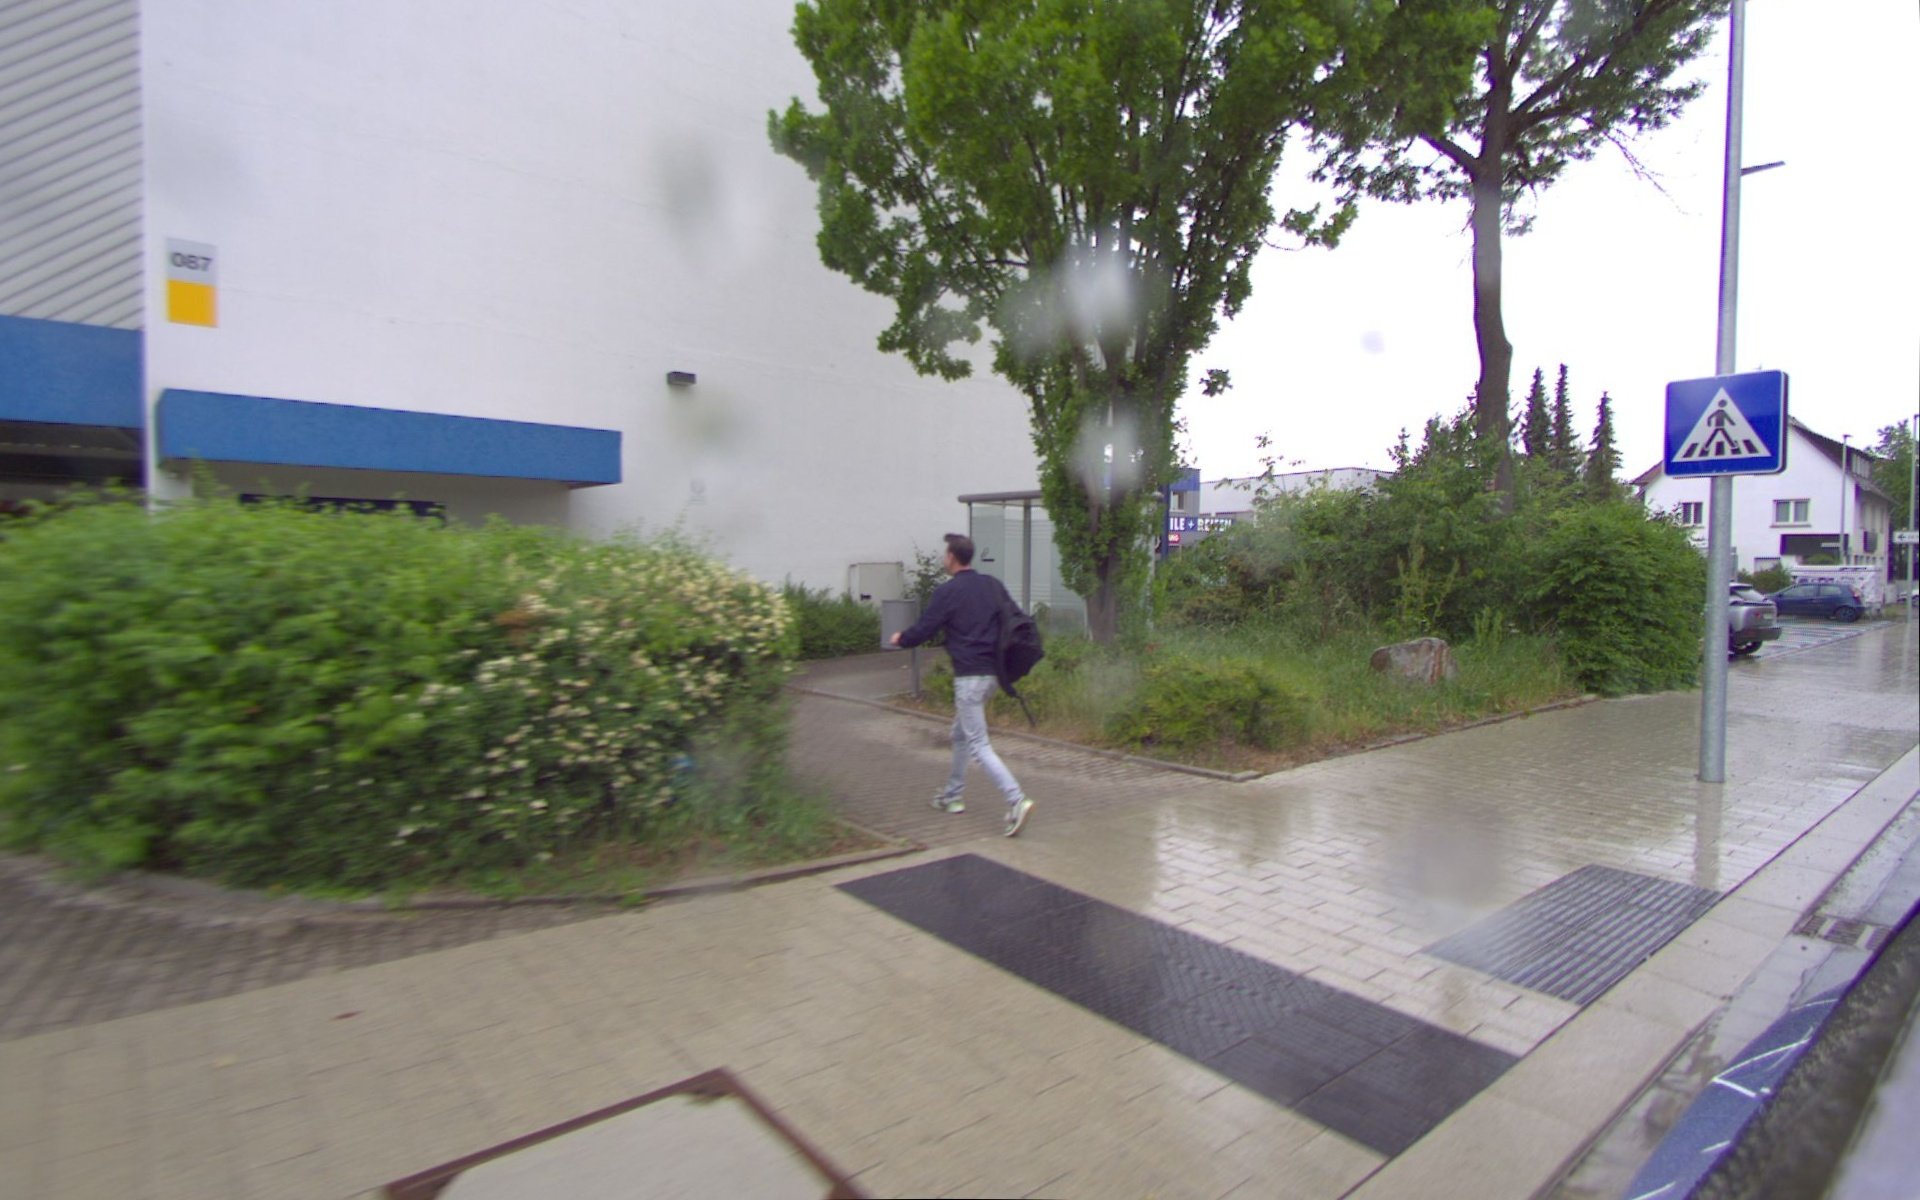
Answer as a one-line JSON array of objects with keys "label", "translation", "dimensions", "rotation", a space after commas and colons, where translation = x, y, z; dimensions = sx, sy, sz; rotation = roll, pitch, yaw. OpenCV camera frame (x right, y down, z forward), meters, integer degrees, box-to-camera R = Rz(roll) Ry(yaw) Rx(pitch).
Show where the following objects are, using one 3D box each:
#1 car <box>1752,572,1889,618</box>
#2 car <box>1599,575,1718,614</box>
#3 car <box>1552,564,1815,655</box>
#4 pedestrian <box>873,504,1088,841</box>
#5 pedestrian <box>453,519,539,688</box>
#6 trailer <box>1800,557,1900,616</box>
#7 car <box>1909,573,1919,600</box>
[{"label": "car", "translation": [32.774, -0.231, 38.618], "dimensions": [1.621, 1.547, 3.734], "rotation": [-2, 4, -40]}, {"label": "car", "translation": [28.326, -0.247, 41.106], "dimensions": [1.702, 1.467, 3.730], "rotation": [-1, 2, -43]}, {"label": "car", "translation": [15.765, 0.106, 22.294], "dimensions": [1.960, 1.669, 4.227], "rotation": [0, 4, -30]}, {"label": "pedestrian", "translation": [0.106, 0.366, 5.880], "dimensions": [0.759, 1.746, 1.014], "rotation": [0, 1, -43]}, {"label": "pedestrian", "translation": [-5.326, 0.028, 11.620], "dimensions": [0.759, 1.859, 0.570], "rotation": [0, 1, -43]}, {"label": "trailer", "translation": [34.939, -0.558, 39.780], "dimensions": [1.520, 2.198, 2.709], "rotation": [-1, 2, -38]}, {"label": "car", "translation": [60.569, -0.729, 61.378], "dimensions": [4.118, 1.600, 1.975], "rotation": [4, 3, 36]}]
